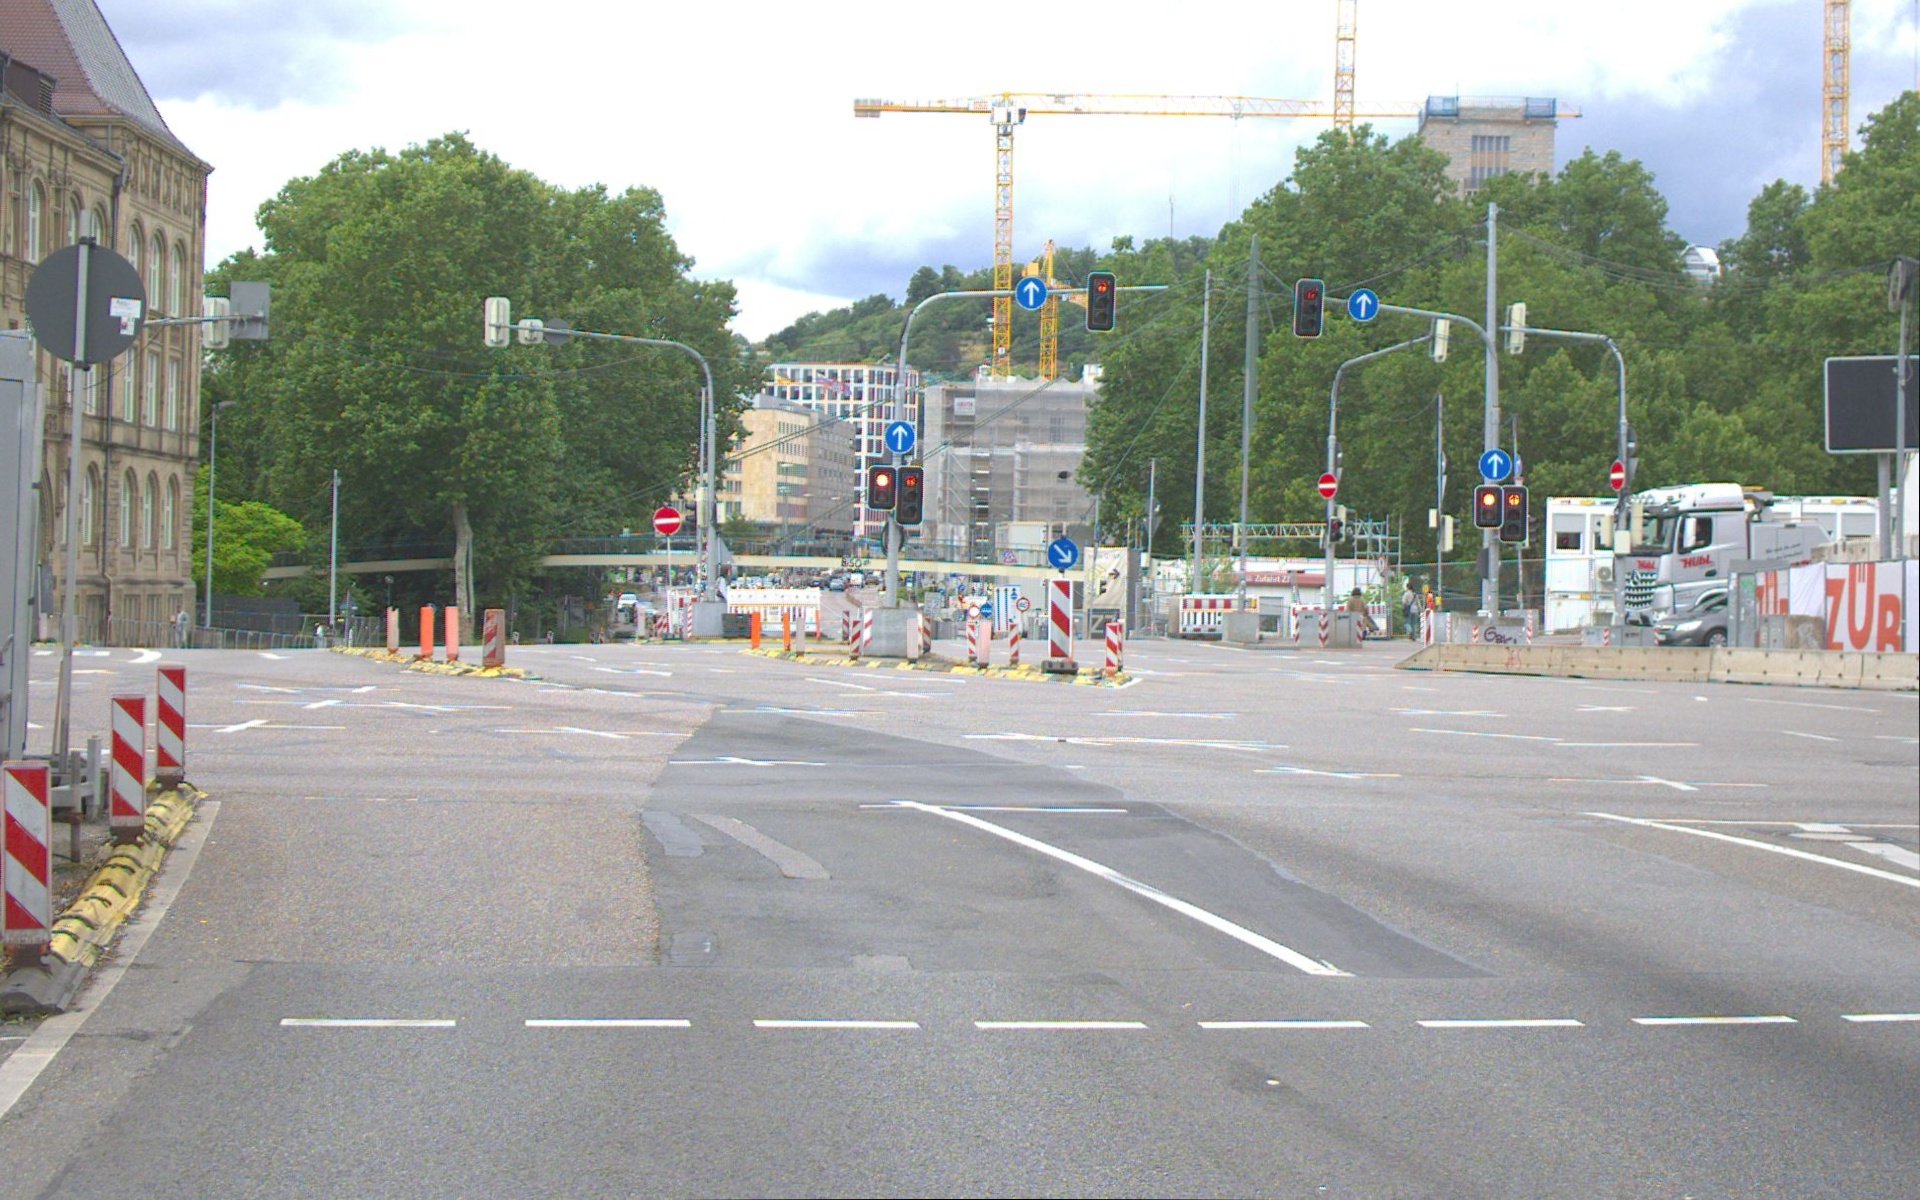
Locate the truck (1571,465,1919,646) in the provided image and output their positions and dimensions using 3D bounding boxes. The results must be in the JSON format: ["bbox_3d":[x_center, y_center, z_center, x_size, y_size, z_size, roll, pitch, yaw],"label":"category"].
[{"bbox_3d":[21.355,-1.000,82.001,13.022,4.027,3.952,1,1,-20],"label":"truck"}]

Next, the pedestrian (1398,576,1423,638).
[{"bbox_3d":[12.296,0.187,93.765,0.566,1.683,0.472,1,1,-1],"label":"pedestrian"}]

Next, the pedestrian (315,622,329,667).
[{"bbox_3d":[-28.571,1.998,153.966,0.524,2.007,0.567,1,1,0],"label":"pedestrian"}]

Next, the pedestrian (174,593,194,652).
[{"bbox_3d":[-26.687,0.759,118.289,0.524,2.007,0.567,1,1,0],"label":"pedestrian"}]

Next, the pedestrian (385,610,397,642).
[{"bbox_3d":[-29.124,1.341,175.949,0.536,1.587,0.516,1,1,-4],"label":"pedestrian"}]

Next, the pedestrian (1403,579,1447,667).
[{"bbox_3d":[9.128,0.452,67.478,0.729,1.683,0.678,1,1,-1],"label":"pedestrian"}]

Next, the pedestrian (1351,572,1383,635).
[{"bbox_3d":[11.111,0.103,93.799,0.729,1.683,0.678,1,1,-1],"label":"pedestrian"}]
